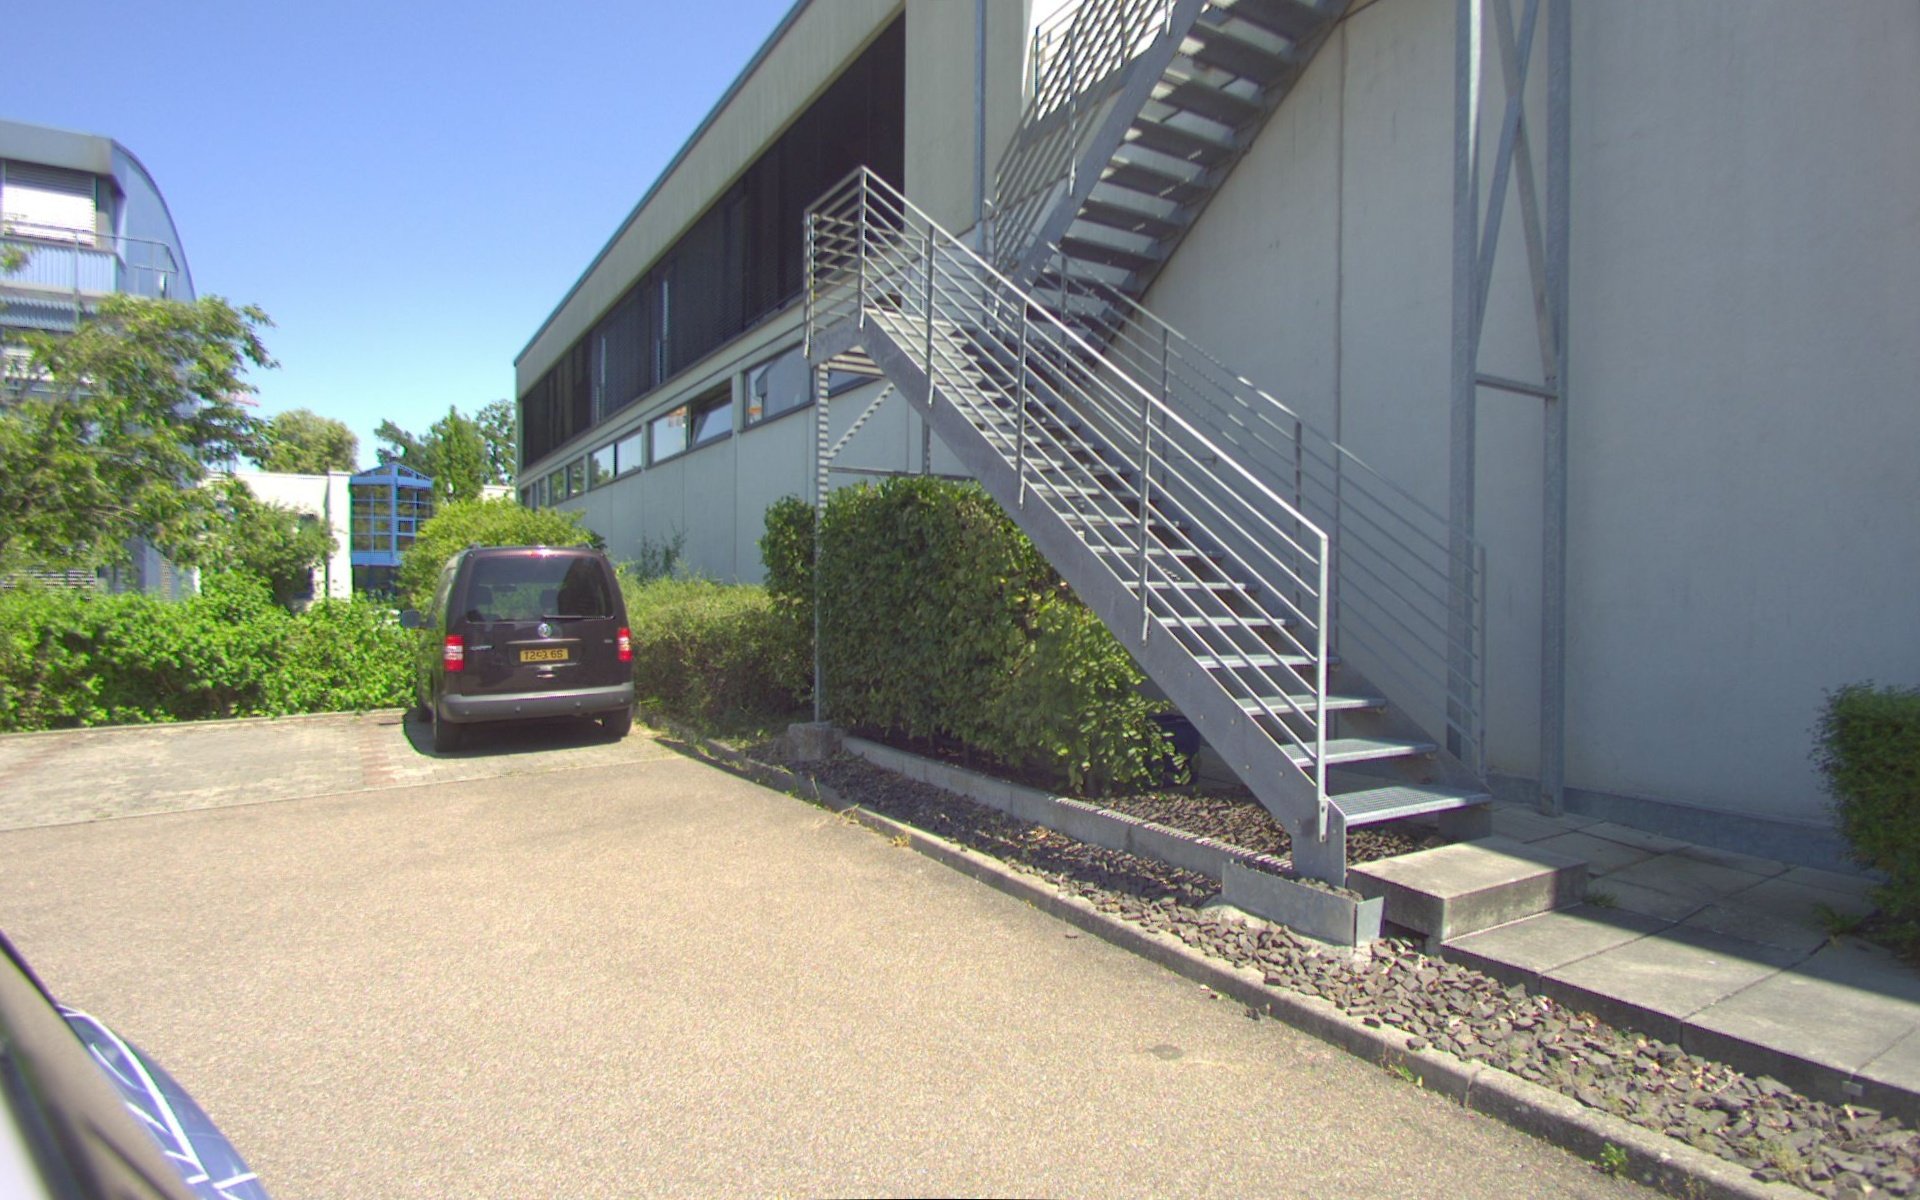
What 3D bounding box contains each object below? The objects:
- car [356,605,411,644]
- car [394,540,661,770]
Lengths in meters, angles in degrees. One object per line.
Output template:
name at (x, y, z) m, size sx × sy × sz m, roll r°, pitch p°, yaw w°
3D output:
car at (-26.916, 1.106, 47.211) m, size 1.807 × 1.579 × 4.010 m, roll -1°, pitch 2°, yaw -35°
car at (-4.672, 0.421, 10.538) m, size 1.837 × 1.874 × 4.241 m, roll -1°, pitch 1°, yaw -33°
